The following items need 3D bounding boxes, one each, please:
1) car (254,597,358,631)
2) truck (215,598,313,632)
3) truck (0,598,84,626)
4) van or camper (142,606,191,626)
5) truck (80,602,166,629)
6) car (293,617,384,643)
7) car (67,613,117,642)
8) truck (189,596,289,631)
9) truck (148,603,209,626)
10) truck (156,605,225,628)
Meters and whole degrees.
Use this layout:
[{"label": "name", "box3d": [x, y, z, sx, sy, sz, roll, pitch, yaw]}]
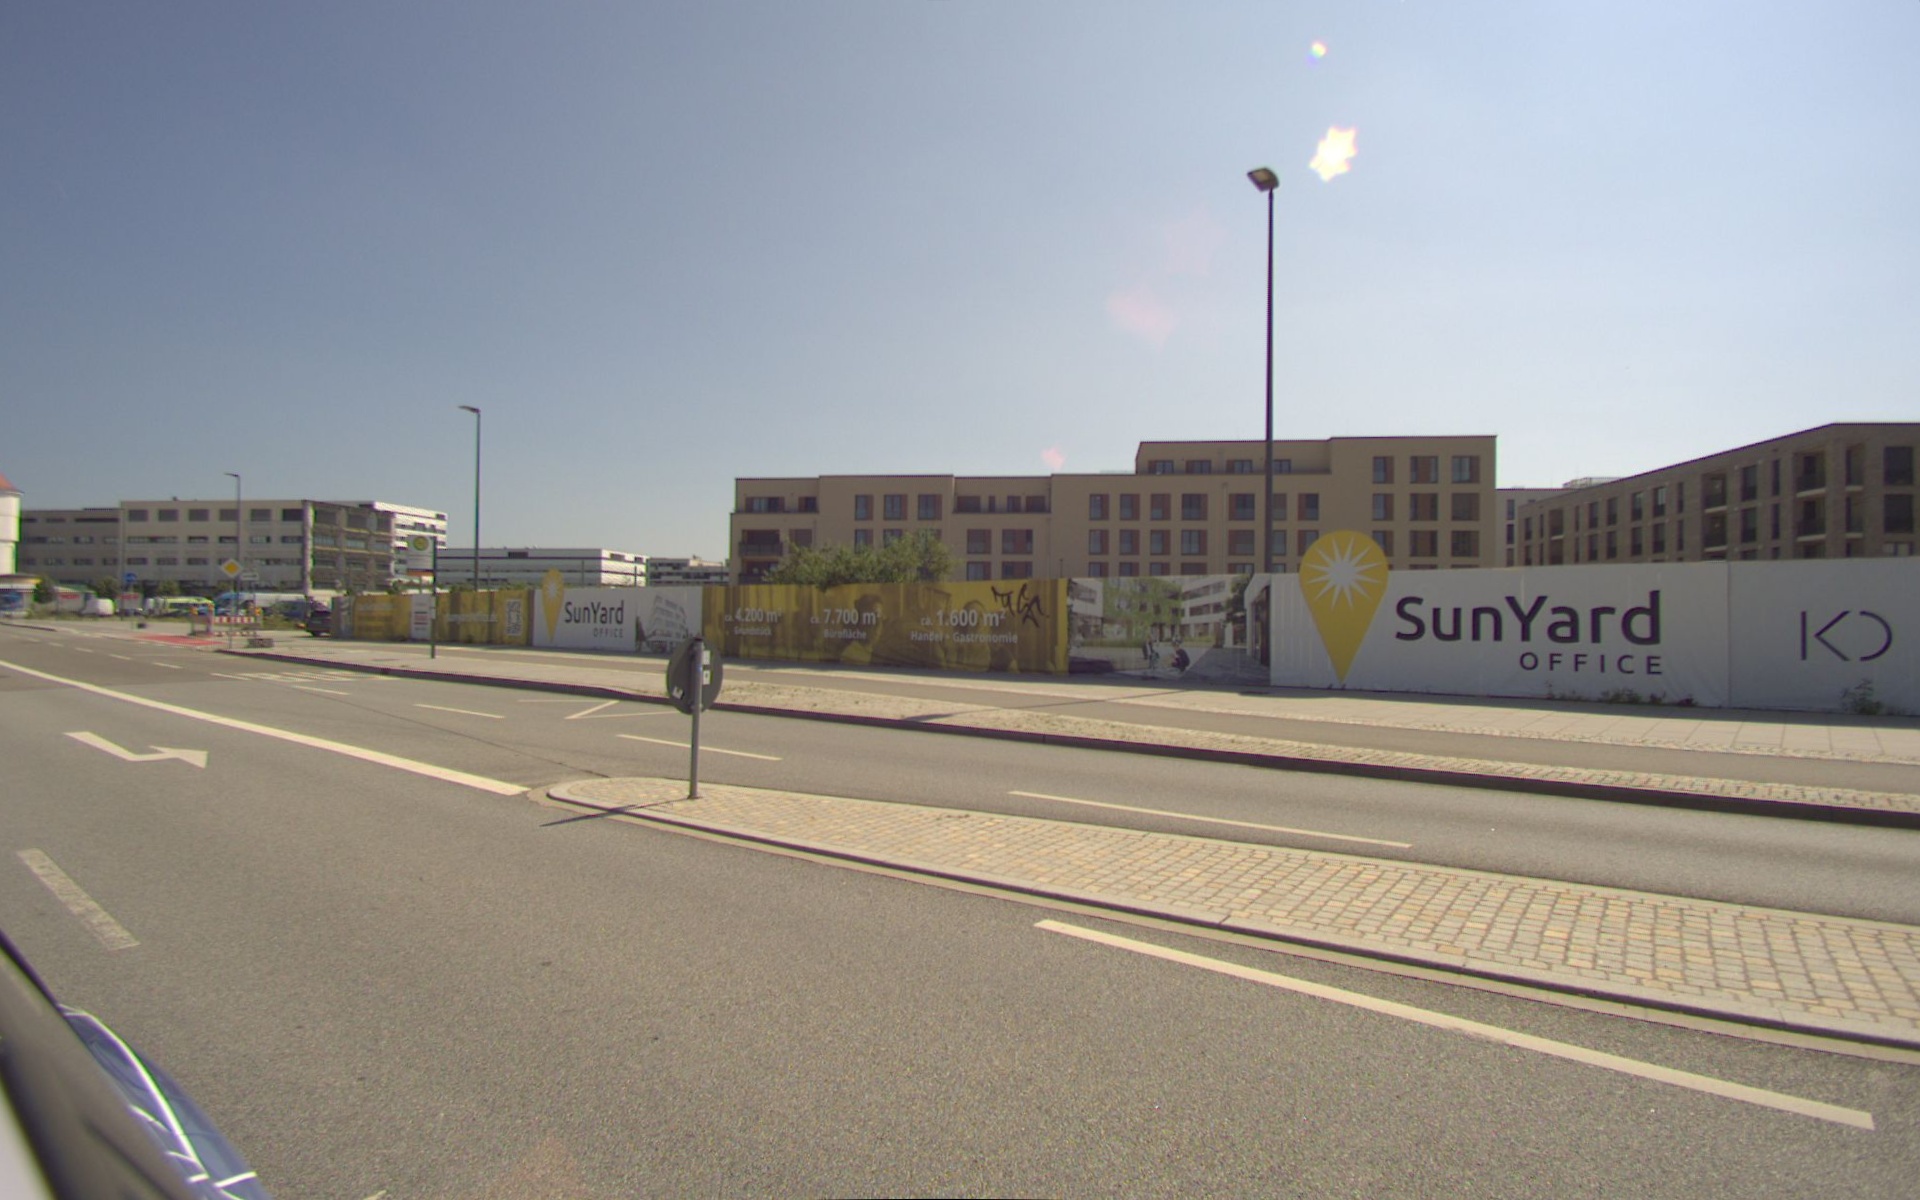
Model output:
[{"label": "car", "box3d": [-44.094, 0.969, 68.387, 2.391, 2.190, 5.392, -1, -2, 37]}, {"label": "truck", "box3d": [-51.189, 1.114, 74.498, 2.272, 2.381, 5.512, -1, -2, 39]}, {"label": "truck", "box3d": [-147.227, 1.840, 161.558, 3.281, 4.098, 10.897, 1, 1, 23]}, {"label": "van or camper", "box3d": [-107.458, 2.158, 137.071, 2.258, 2.682, 4.850, -1, -1, 40]}, {"label": "truck", "box3d": [-142.201, 2.528, 172.163, 3.331, 4.307, 10.842, 1, 1, 29]}, {"label": "car", "box3d": [-32.895, 1.593, 53.740, 1.975, 1.328, 4.240, 1, -2, 5]}, {"label": "car", "box3d": [-48.727, 1.515, 56.808, 3.678, 1.488, 1.590, 1, -3, 42]}, {"label": "truck", "box3d": [-56.507, 1.108, 79.400, 2.274, 2.563, 5.942, -1, -2, 40]}, {"label": "truck", "box3d": [-104.054, 1.876, 134.752, 2.569, 2.923, 6.081, 1, 1, 41]}, {"label": "truck", "box3d": [-98.301, 2.086, 129.423, 2.598, 2.847, 6.576, -1, -1, 36]}]
